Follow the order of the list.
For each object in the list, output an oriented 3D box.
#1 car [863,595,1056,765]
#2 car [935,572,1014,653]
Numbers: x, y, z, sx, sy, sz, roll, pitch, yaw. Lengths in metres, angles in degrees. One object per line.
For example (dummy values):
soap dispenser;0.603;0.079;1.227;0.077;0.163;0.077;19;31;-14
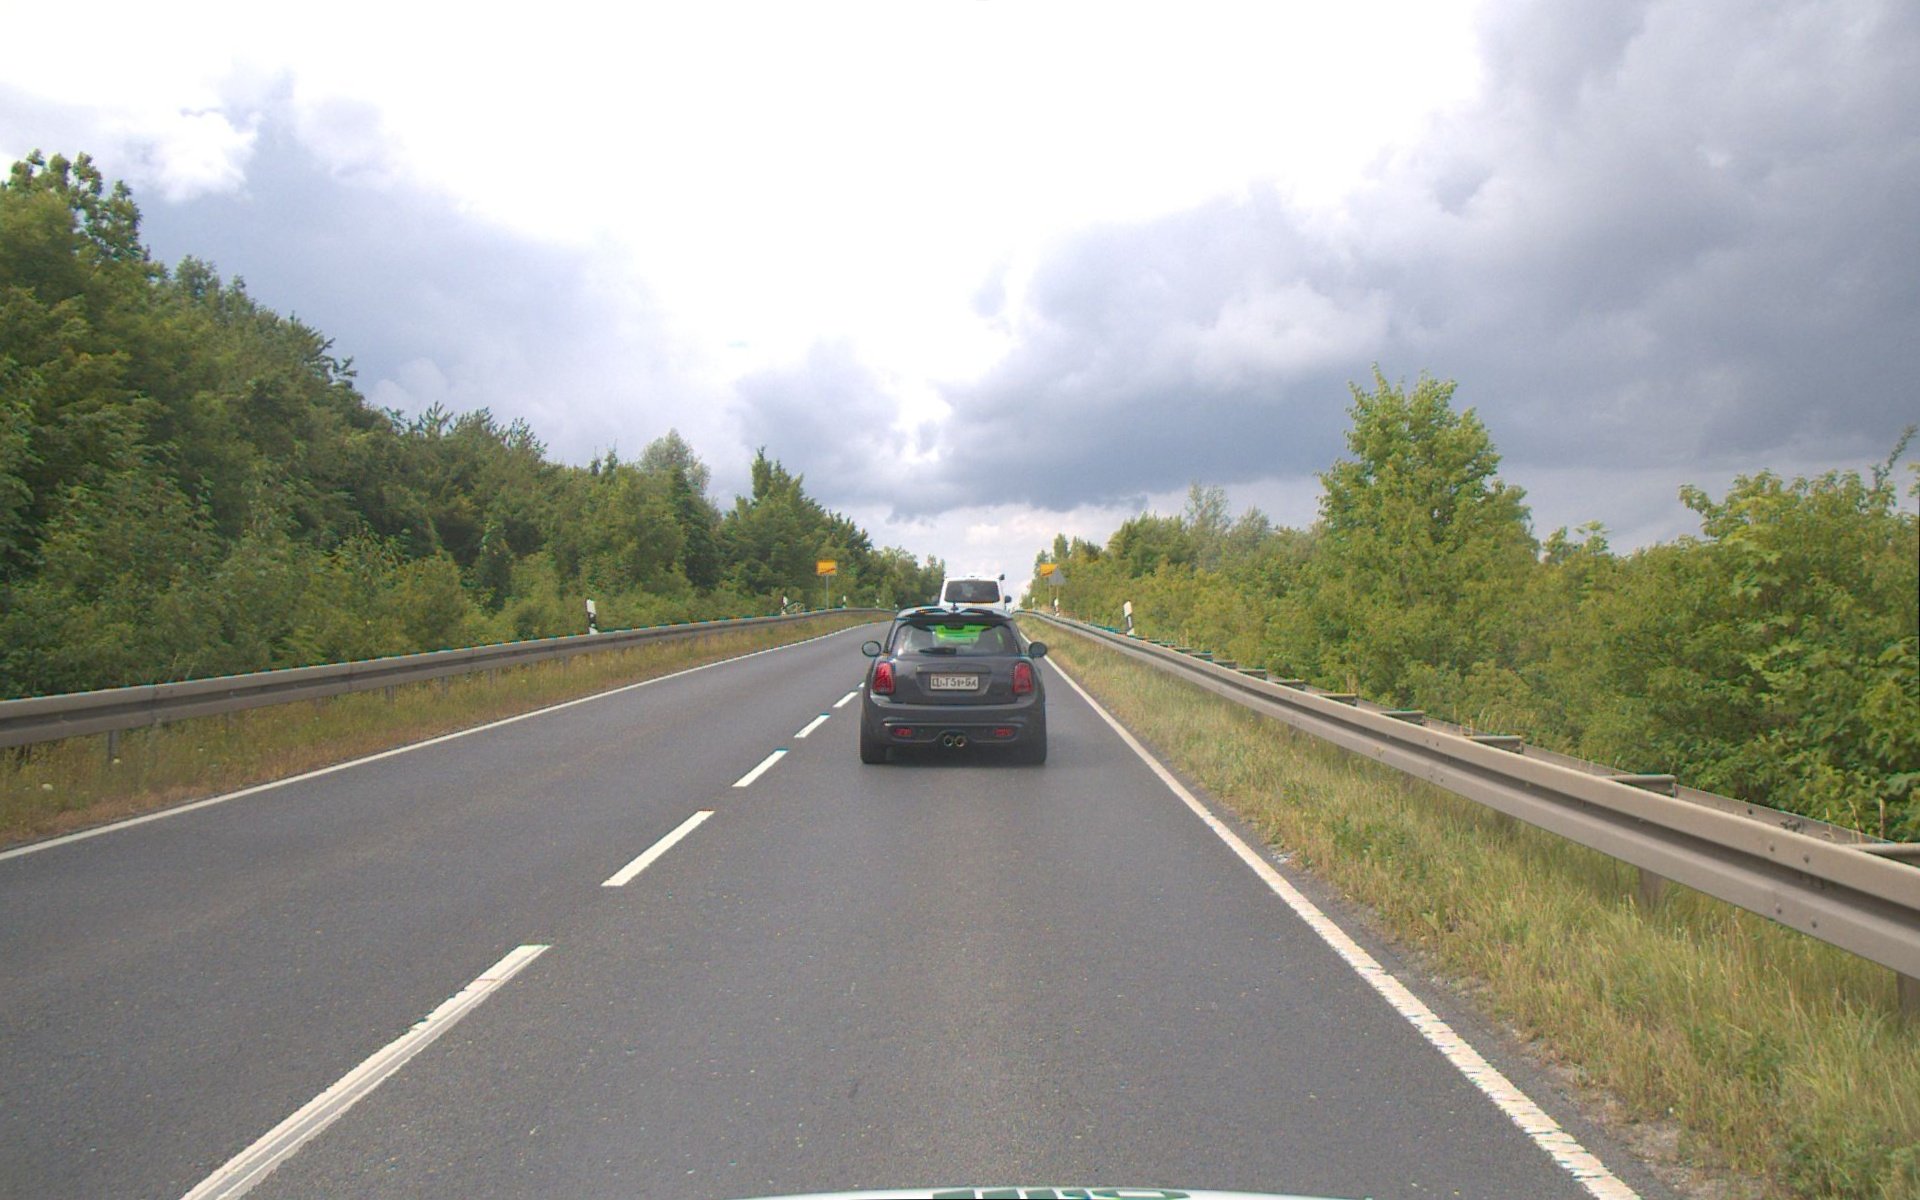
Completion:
car;-0.082;0.697;16.575;1.697;1.481;3.998;0;0;-2
car;0.435;0.306;44.217;1.980;2.048;4.001;1;0;2
